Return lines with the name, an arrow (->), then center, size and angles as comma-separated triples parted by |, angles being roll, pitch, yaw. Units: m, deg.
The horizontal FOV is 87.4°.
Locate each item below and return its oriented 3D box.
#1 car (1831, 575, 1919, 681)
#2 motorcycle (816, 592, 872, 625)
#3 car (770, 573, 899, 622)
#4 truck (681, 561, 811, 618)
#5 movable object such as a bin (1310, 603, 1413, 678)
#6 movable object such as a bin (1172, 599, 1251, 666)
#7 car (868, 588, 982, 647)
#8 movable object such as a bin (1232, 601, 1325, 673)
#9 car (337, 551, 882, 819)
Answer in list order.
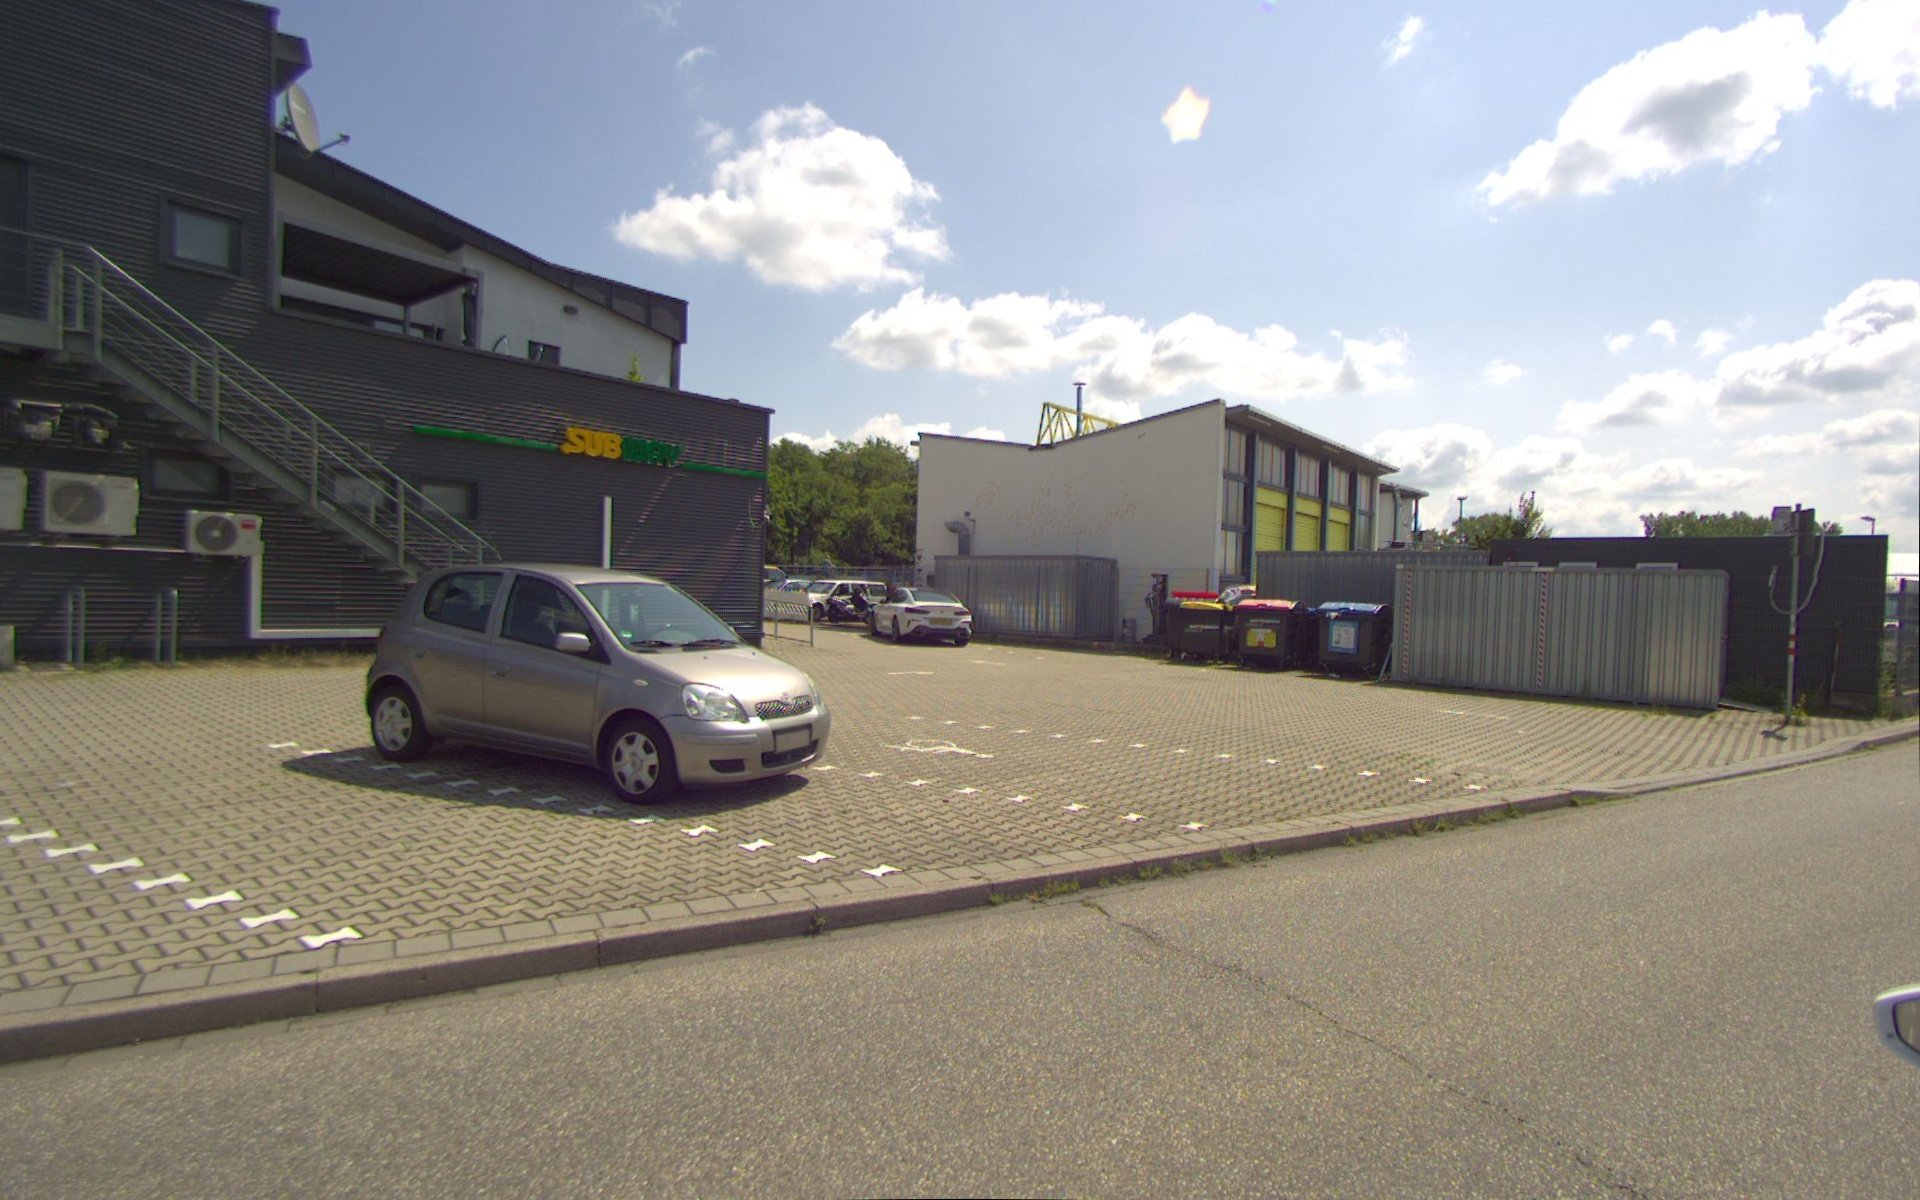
car -> 25.349, 0.724, 27.206 | 6.673, 2.571, 2.098 | 1, 0, -45
motorcycle -> -3.847, 0.296, 33.402 | 0.556, 1.052, 2.036 | 3, 1, 38
car -> -4.469, -0.069, 36.249 | 1.970, 1.604, 4.490 | 2, 0, 39
truck -> -8.359, -0.374, 39.612 | 1.929, 2.040, 4.817 | 2, 0, 39
movable object such as a bin -> 8.176, 0.797, 20.407 | 1.355, 1.408, 2.194 | 2, 0, 38
movable object such as a bin -> 5.666, 0.717, 22.514 | 1.097, 1.408, 2.022 | 2, 0, 33
car -> -1.011, 0.409, 26.317 | 1.908, 1.332, 4.019 | 3, 1, -18
movable object such as a bin -> 6.915, 0.780, 21.719 | 1.179, 1.408, 2.194 | 3, 1, 38
car -> -2.644, 0.477, 7.636 | 3.624, 1.496, 1.796 | 4, 2, 23
